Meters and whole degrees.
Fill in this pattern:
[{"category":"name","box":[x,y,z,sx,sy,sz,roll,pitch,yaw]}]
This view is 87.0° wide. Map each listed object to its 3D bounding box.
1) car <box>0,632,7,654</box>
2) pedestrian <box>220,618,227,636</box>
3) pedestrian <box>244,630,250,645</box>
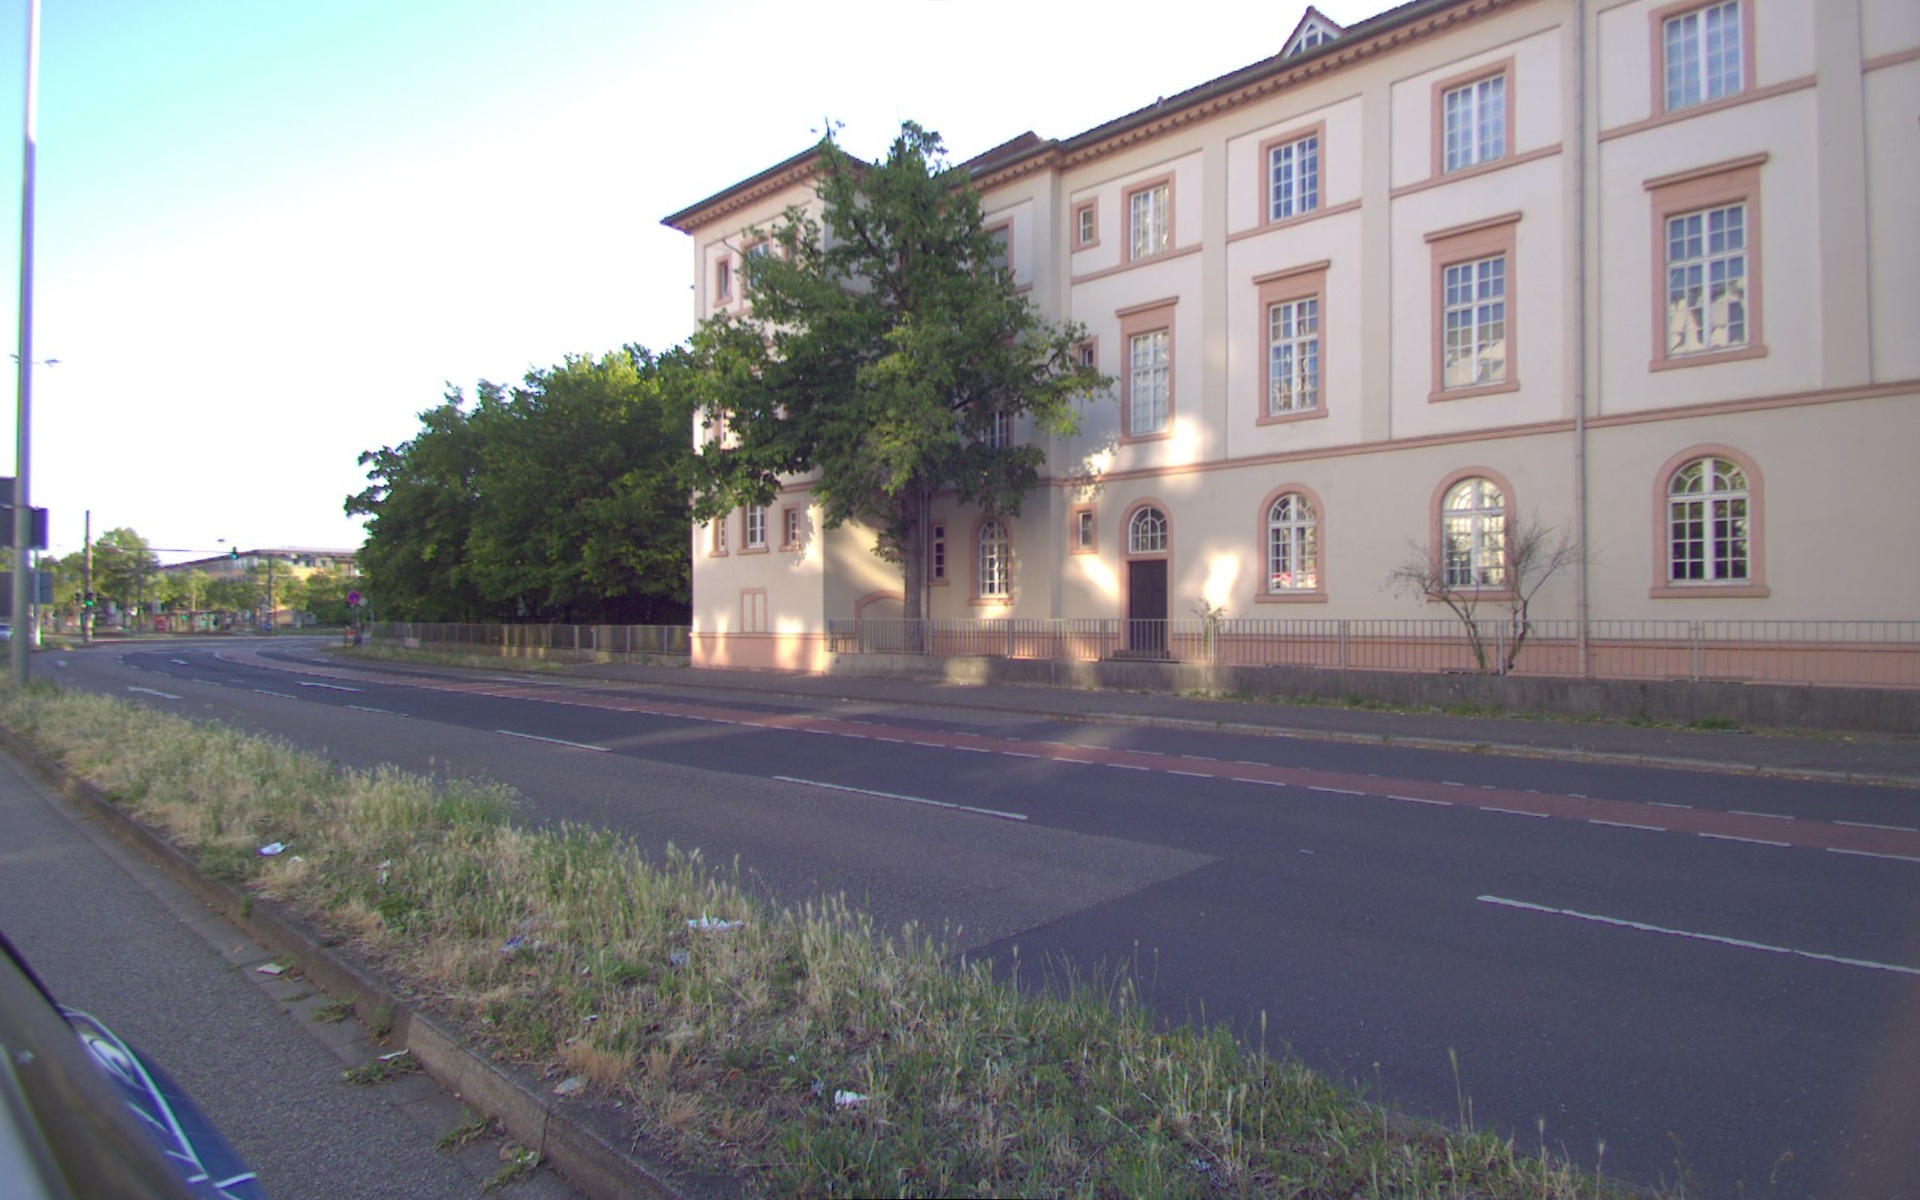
[{"category":"car","box":[-66.085,2.918,68.773,1.650,1.429,4.447,-1,-1,-40]},{"category":"pedestrian","box":[-85.161,3.137,117.047,0.664,2.029,0.549,-2,-2,41]},{"category":"pedestrian","box":[-80.741,4.272,114.644,0.419,1.718,0.461,-2,-2,41]}]
